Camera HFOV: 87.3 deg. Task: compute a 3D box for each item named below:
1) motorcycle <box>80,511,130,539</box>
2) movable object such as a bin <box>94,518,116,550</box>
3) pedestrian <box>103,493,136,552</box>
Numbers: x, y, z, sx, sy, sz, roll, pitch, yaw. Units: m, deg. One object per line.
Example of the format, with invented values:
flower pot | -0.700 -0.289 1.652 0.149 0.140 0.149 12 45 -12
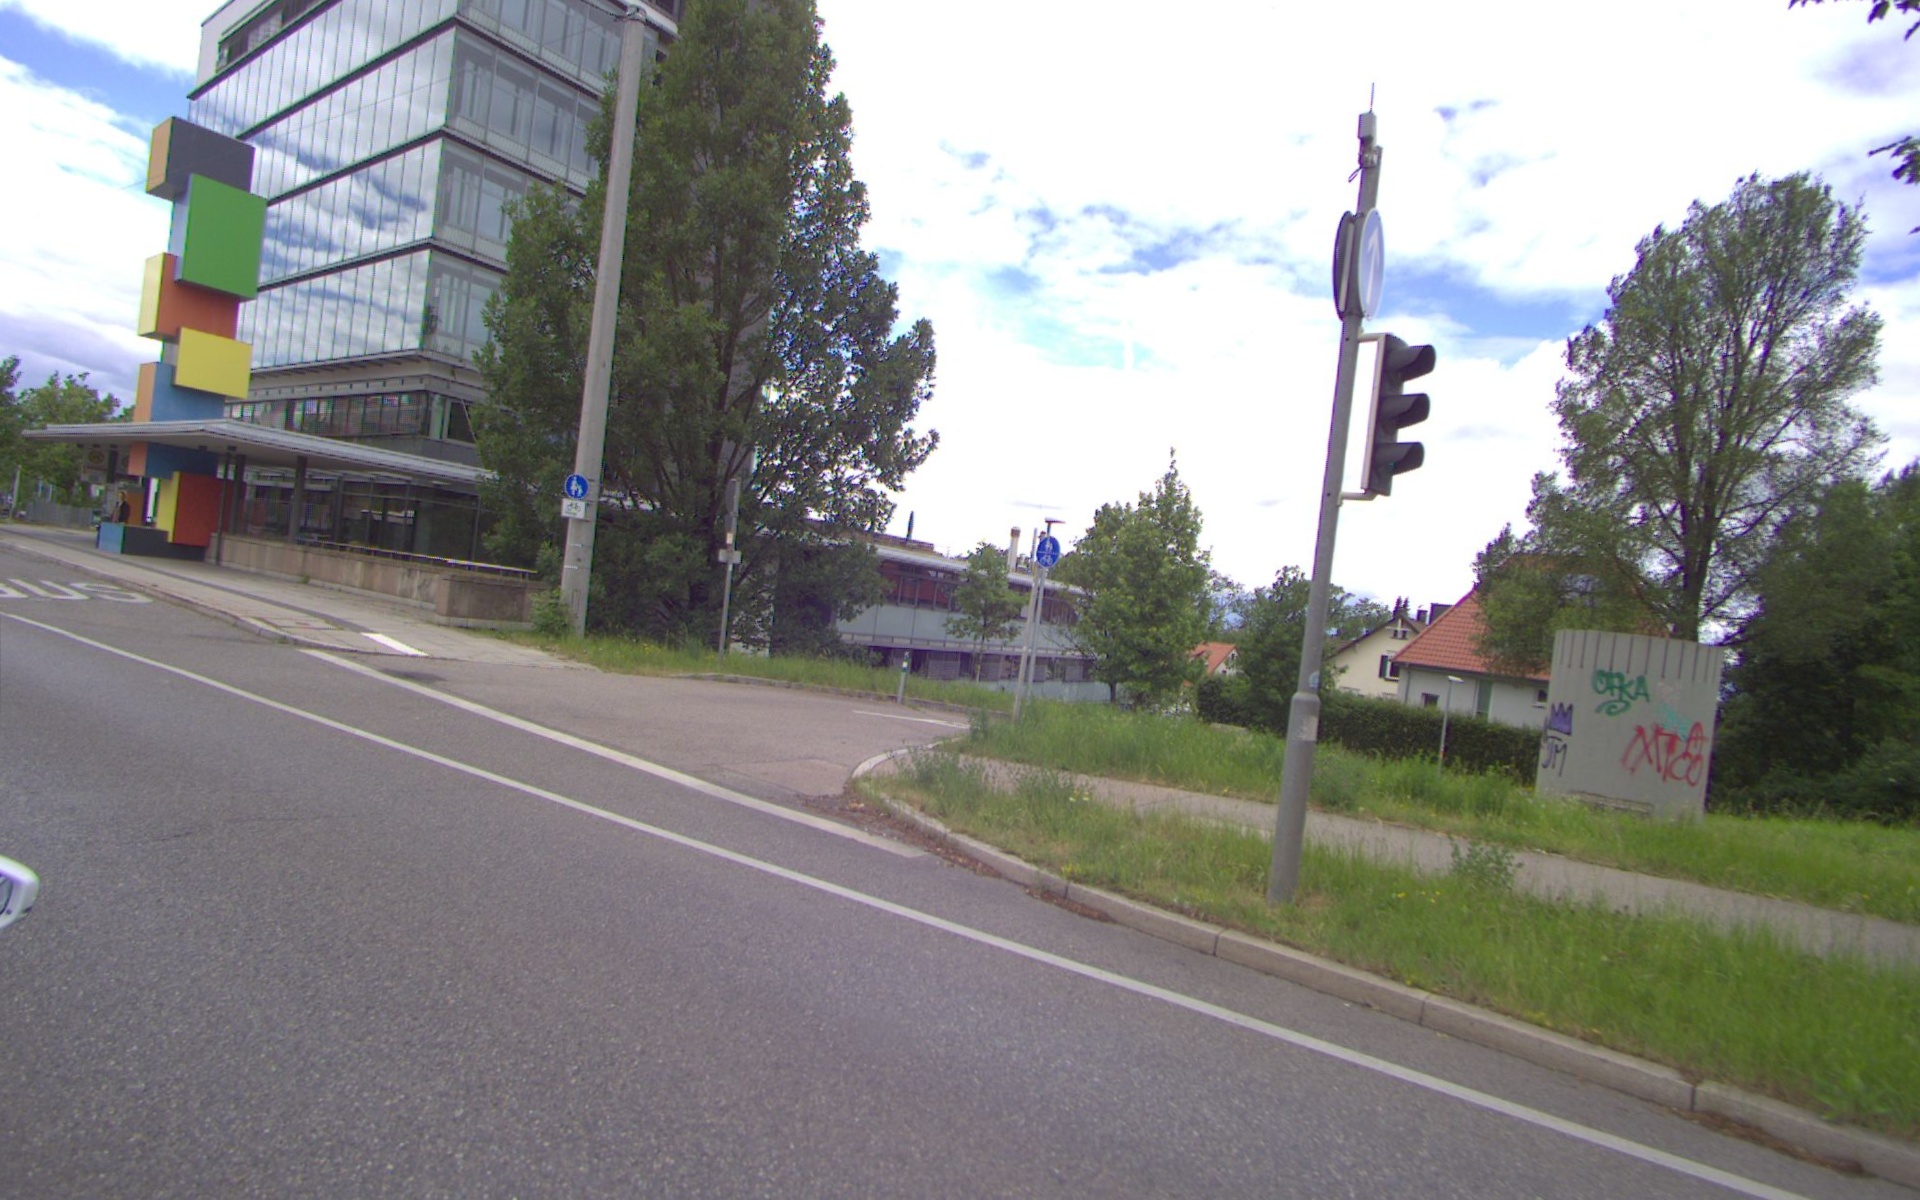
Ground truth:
motorcycle | -40.964 -3.590 48.229 1.746 1.083 0.634 7 0 -1
movable object such as a bin | -25.470 -1.964 29.967 0.455 0.909 0.356 7 0 39
pedestrian | -25.631 -2.371 30.682 0.722 1.693 0.524 7 0 39
